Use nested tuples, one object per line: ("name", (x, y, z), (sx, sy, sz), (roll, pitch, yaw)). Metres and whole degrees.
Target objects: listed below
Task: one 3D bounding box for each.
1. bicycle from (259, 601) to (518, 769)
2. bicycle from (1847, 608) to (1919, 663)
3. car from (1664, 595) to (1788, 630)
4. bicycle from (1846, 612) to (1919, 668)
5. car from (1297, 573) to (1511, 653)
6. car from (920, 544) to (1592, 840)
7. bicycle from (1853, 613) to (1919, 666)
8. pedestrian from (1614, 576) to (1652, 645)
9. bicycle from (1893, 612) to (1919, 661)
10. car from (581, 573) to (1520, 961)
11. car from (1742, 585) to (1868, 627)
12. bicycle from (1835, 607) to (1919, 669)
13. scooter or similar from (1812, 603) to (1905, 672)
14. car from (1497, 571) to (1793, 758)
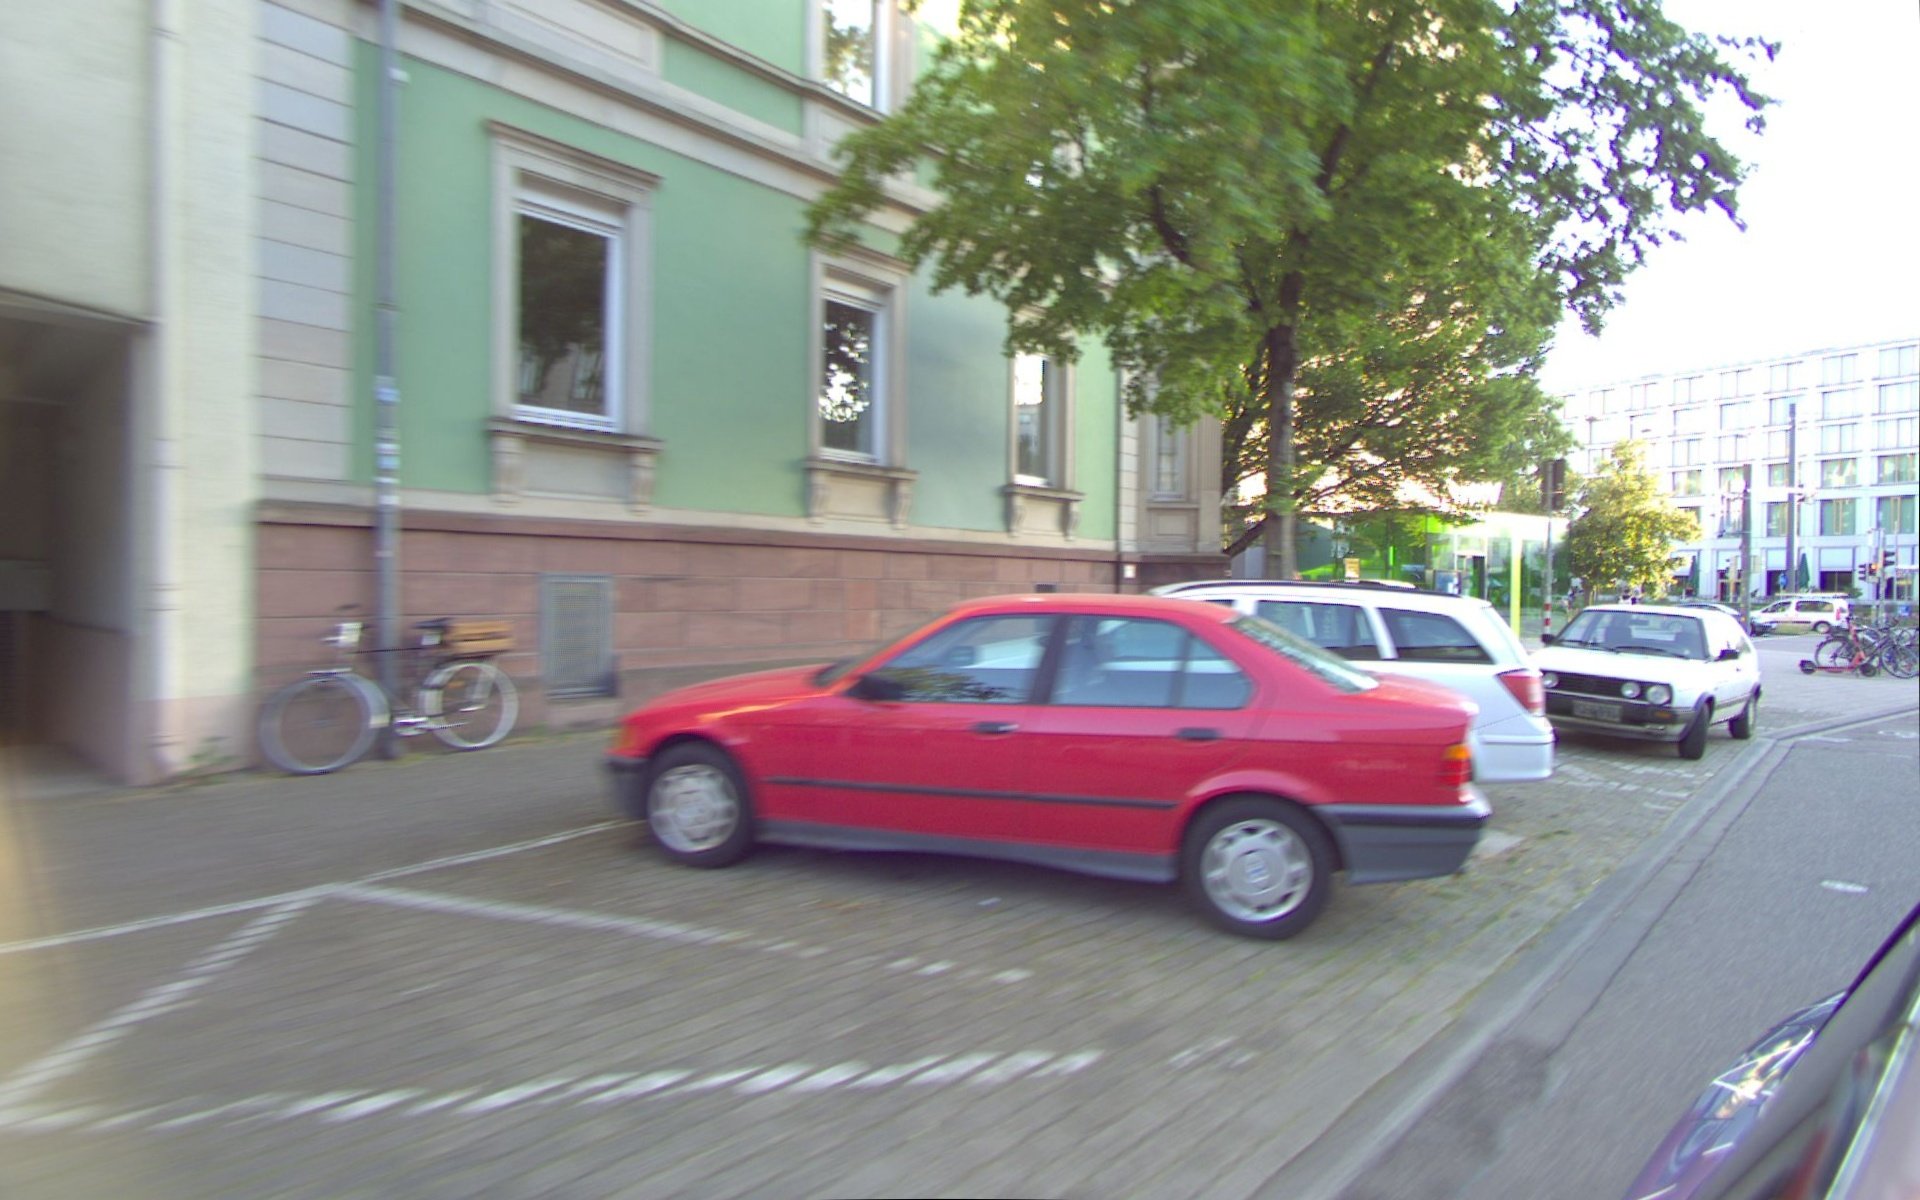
("bicycle", (-4.133, 0.556, 7.397), (0.650, 1.088, 1.532), (1, 0, 43))
("bicycle", (21.302, 0.801, 22.511), (0.729, 1.146, 2.240), (0, 2, -31))
("car", (34.823, 0.531, 46.104), (1.665, 1.438, 4.177), (0, 1, -31))
("bicycle", (19.418, 0.822, 20.879), (0.729, 1.088, 1.557), (0, 0, -31))
("car", (9.701, 0.238, 22.391), (1.768, 1.594, 3.999), (1, 0, -33))
("car", (1.936, 0.513, 7.360), (4.149, 1.747, 1.714), (1, 0, 15))
("bicycle", (20.699, 0.856, 22.010), (0.729, 1.088, 1.762), (0, 0, -31))
("pedestrian", (17.868, 0.268, 26.878), (0.706, 1.790, 0.974), (1, 0, 42))
("bicycle", (22.320, 0.842, 22.745), (0.728, 1.088, 1.870), (1, 0, -16))
("car", (0.341, 0.619, 5.221), (4.149, 1.472, 1.638), (1, 0, 15))
("car", (41.428, 0.262, 49.722), (1.771, 1.935, 4.466), (0, 1, -34))
("bicycle", (18.584, 0.743, 20.201), (0.729, 1.177, 1.532), (0, 0, -31))
("scooter or similar", (17.601, 0.716, 19.840), (0.579, 1.240, 1.205), (1, 2, -32))
("car", (7.447, 0.553, 10.858), (3.932, 1.571, 1.683), (0, 4, -42))
